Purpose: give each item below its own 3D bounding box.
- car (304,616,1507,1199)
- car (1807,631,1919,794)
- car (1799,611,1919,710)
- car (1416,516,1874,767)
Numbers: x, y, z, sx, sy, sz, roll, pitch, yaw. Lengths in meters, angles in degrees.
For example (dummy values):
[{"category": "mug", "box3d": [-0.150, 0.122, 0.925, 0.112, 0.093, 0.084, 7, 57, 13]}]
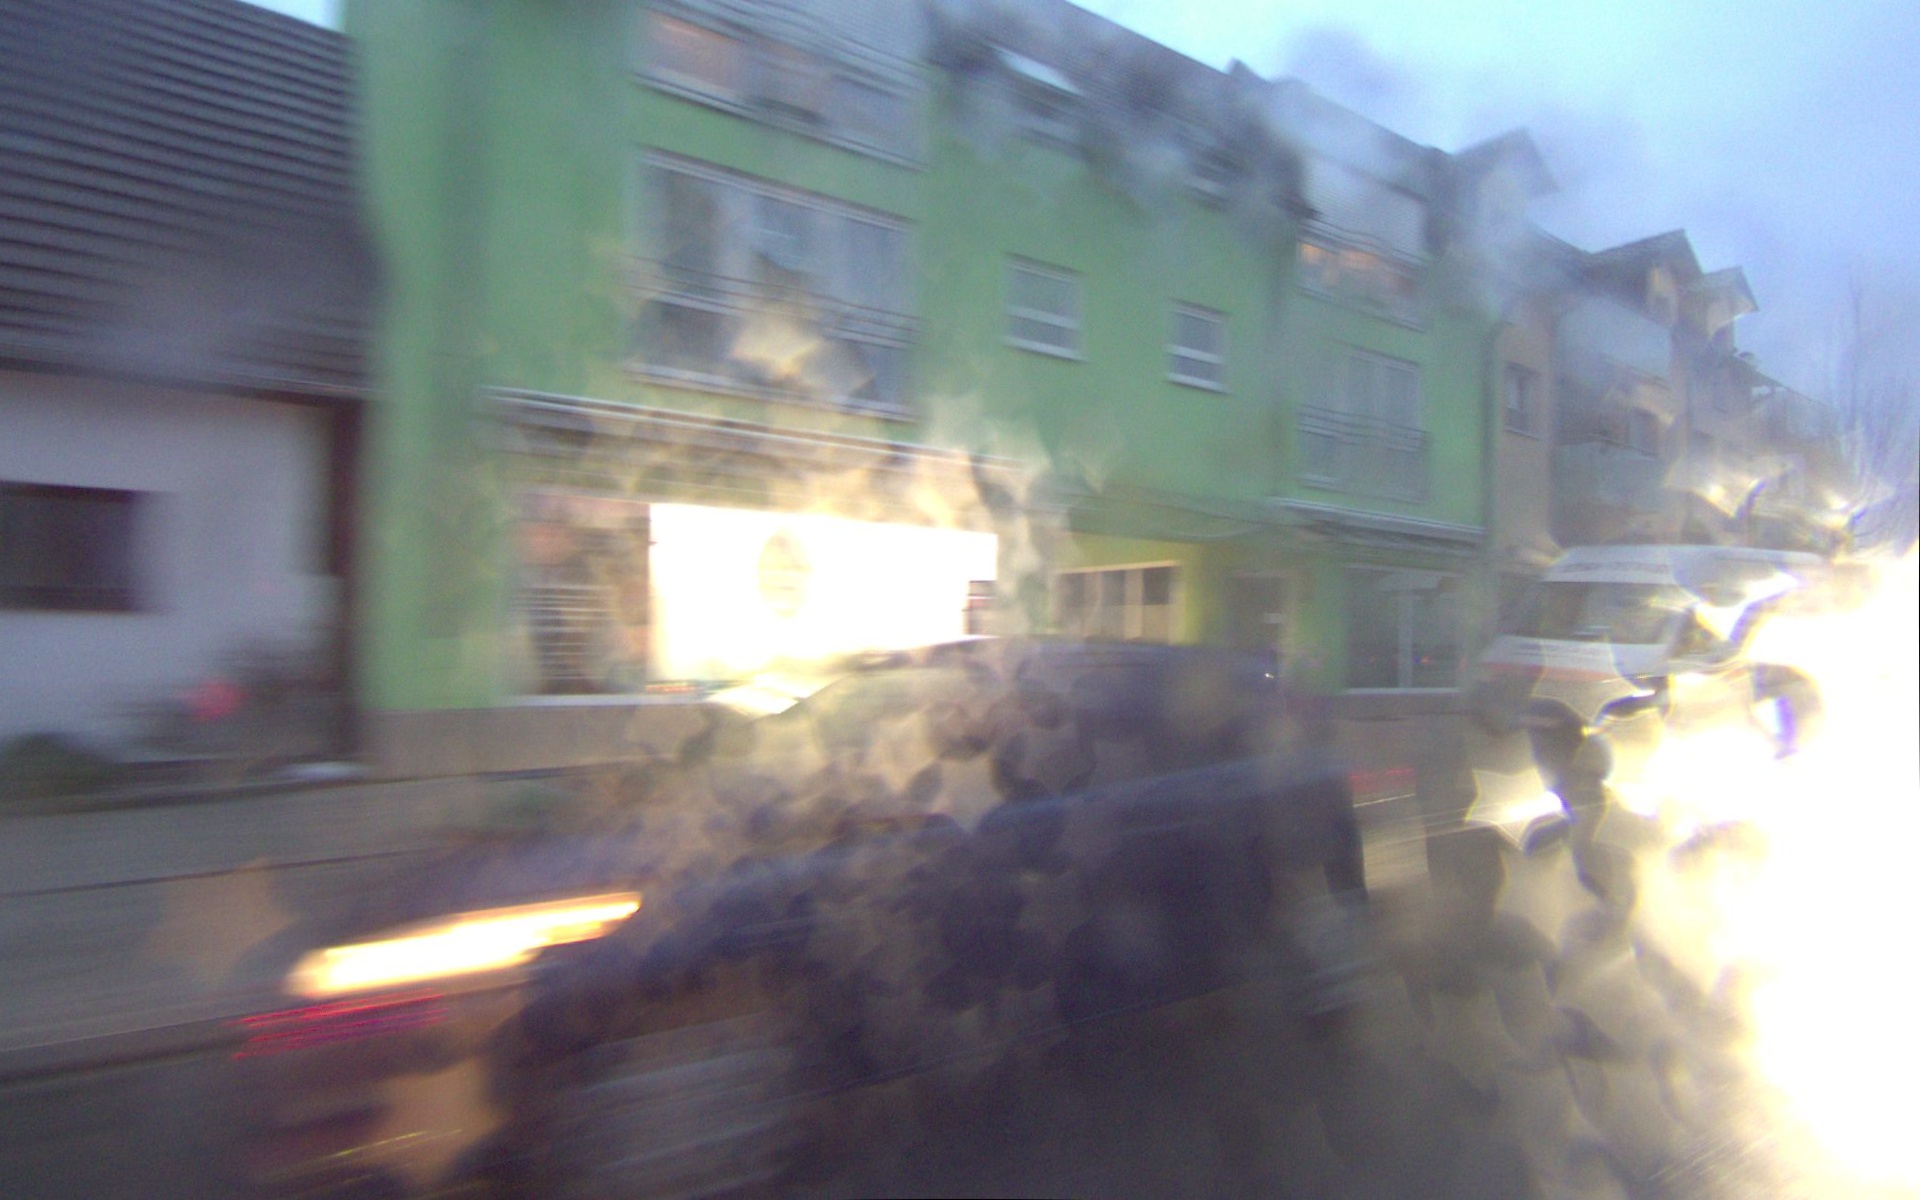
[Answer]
[{"category": "car", "box3d": [-0.011, 0.879, 3.939, 4.210, 1.576, 1.983, 0, -1, -32]}, {"category": "car", "box3d": [11.130, 1.159, 10.944, 4.185, 1.585, 1.905, 2, -4, -36]}, {"category": "car", "box3d": [20.120, 1.240, 21.628, 5.253, 1.868, 1.979, 2, -1, -37]}, {"category": "car", "box3d": [9.166, 0.538, 13.196, 6.686, 2.594, 2.472, 2, -1, -32]}]
